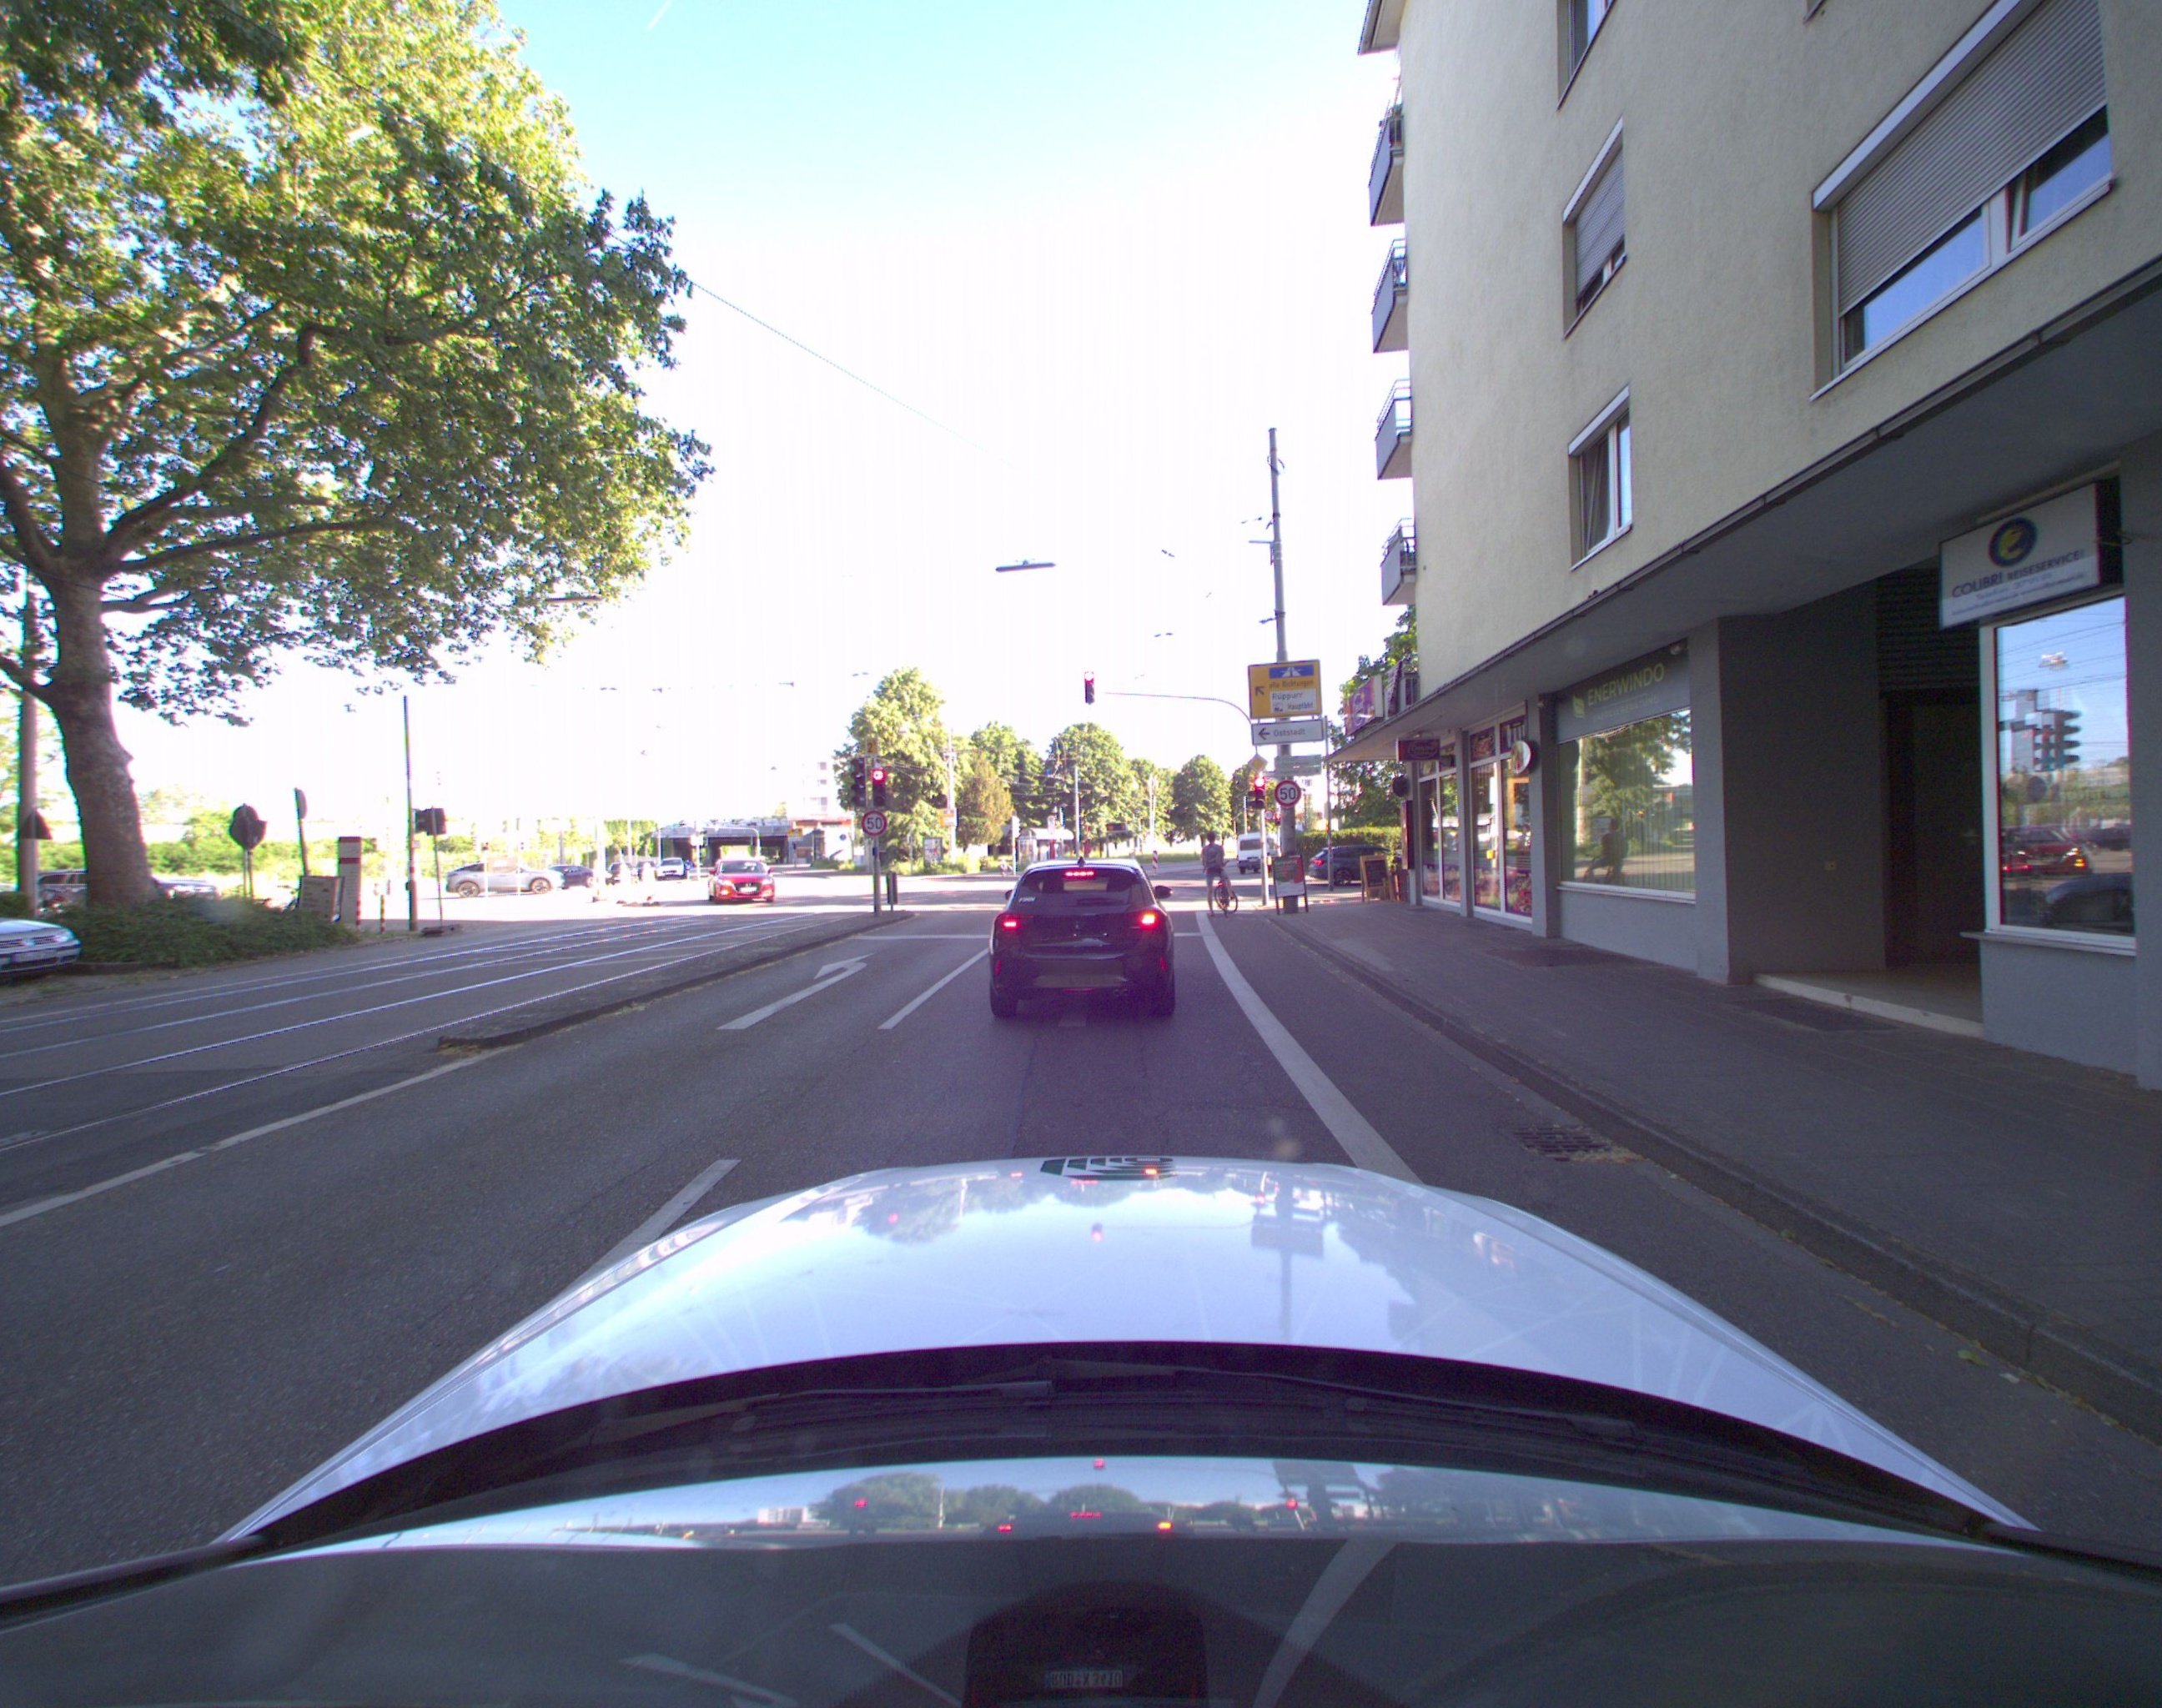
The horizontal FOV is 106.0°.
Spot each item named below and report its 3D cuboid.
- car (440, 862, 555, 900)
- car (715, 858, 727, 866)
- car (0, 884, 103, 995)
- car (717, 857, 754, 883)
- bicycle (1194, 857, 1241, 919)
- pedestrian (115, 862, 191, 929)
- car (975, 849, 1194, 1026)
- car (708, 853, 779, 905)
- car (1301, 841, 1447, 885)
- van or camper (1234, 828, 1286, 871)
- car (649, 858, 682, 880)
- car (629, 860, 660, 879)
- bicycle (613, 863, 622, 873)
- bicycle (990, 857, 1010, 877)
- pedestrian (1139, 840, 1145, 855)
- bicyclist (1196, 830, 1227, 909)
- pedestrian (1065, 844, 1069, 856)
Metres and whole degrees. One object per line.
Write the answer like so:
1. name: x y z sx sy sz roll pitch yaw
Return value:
1. car: -27.138 1.222 38.081 4.222 1.519 1.785 -2 0 -33
2. car: -61.063 1.383 138.226 1.587 1.260 3.397 -2 0 -28
3. car: -16.630 1.197 11.330 3.957 1.453 1.670 -1 0 -1
4. car: -21.503 0.958 50.595 2.000 1.552 4.162 0 -1 -25
5. bicycle: 3.023 0.714 17.941 0.747 1.235 2.024 -2 0 16
6. pedestrian: -23.378 1.021 20.534 0.842 1.647 0.931 0 -1 1
7. car: 0.091 0.701 8.917 1.833 1.462 3.985 -1 0 2
8. car: -11.322 0.770 27.472 2.024 1.565 4.459 -1 0 -22
9. car: 10.644 0.307 29.898 4.701 1.473 1.943 -1 0 7
10. van or camper: 10.220 -0.225 46.266 2.011 2.310 4.565 -1 -1 23
11. car: -31.910 1.127 62.666 1.892 1.585 3.809 0 -1 -21
12. car: -37.110 1.308 69.274 1.892 1.585 3.809 0 -1 -21
13. bicycle: -43.961 1.310 77.207 0.528 0.982 1.565 -1 0 -22
14. bicycle: -4.606 0.736 46.391 0.793 1.064 2.186 -2 0 2
15. pedestrian: 7.748 -0.829 103.190 0.608 1.872 0.514 0 -1 -33
16. bicyclist: 2.867 0.328 17.830 0.529 1.692 0.571 -2 0 19
17. pedestrian: -2.084 -0.586 123.570 0.602 1.872 0.519 0 -1 -4
